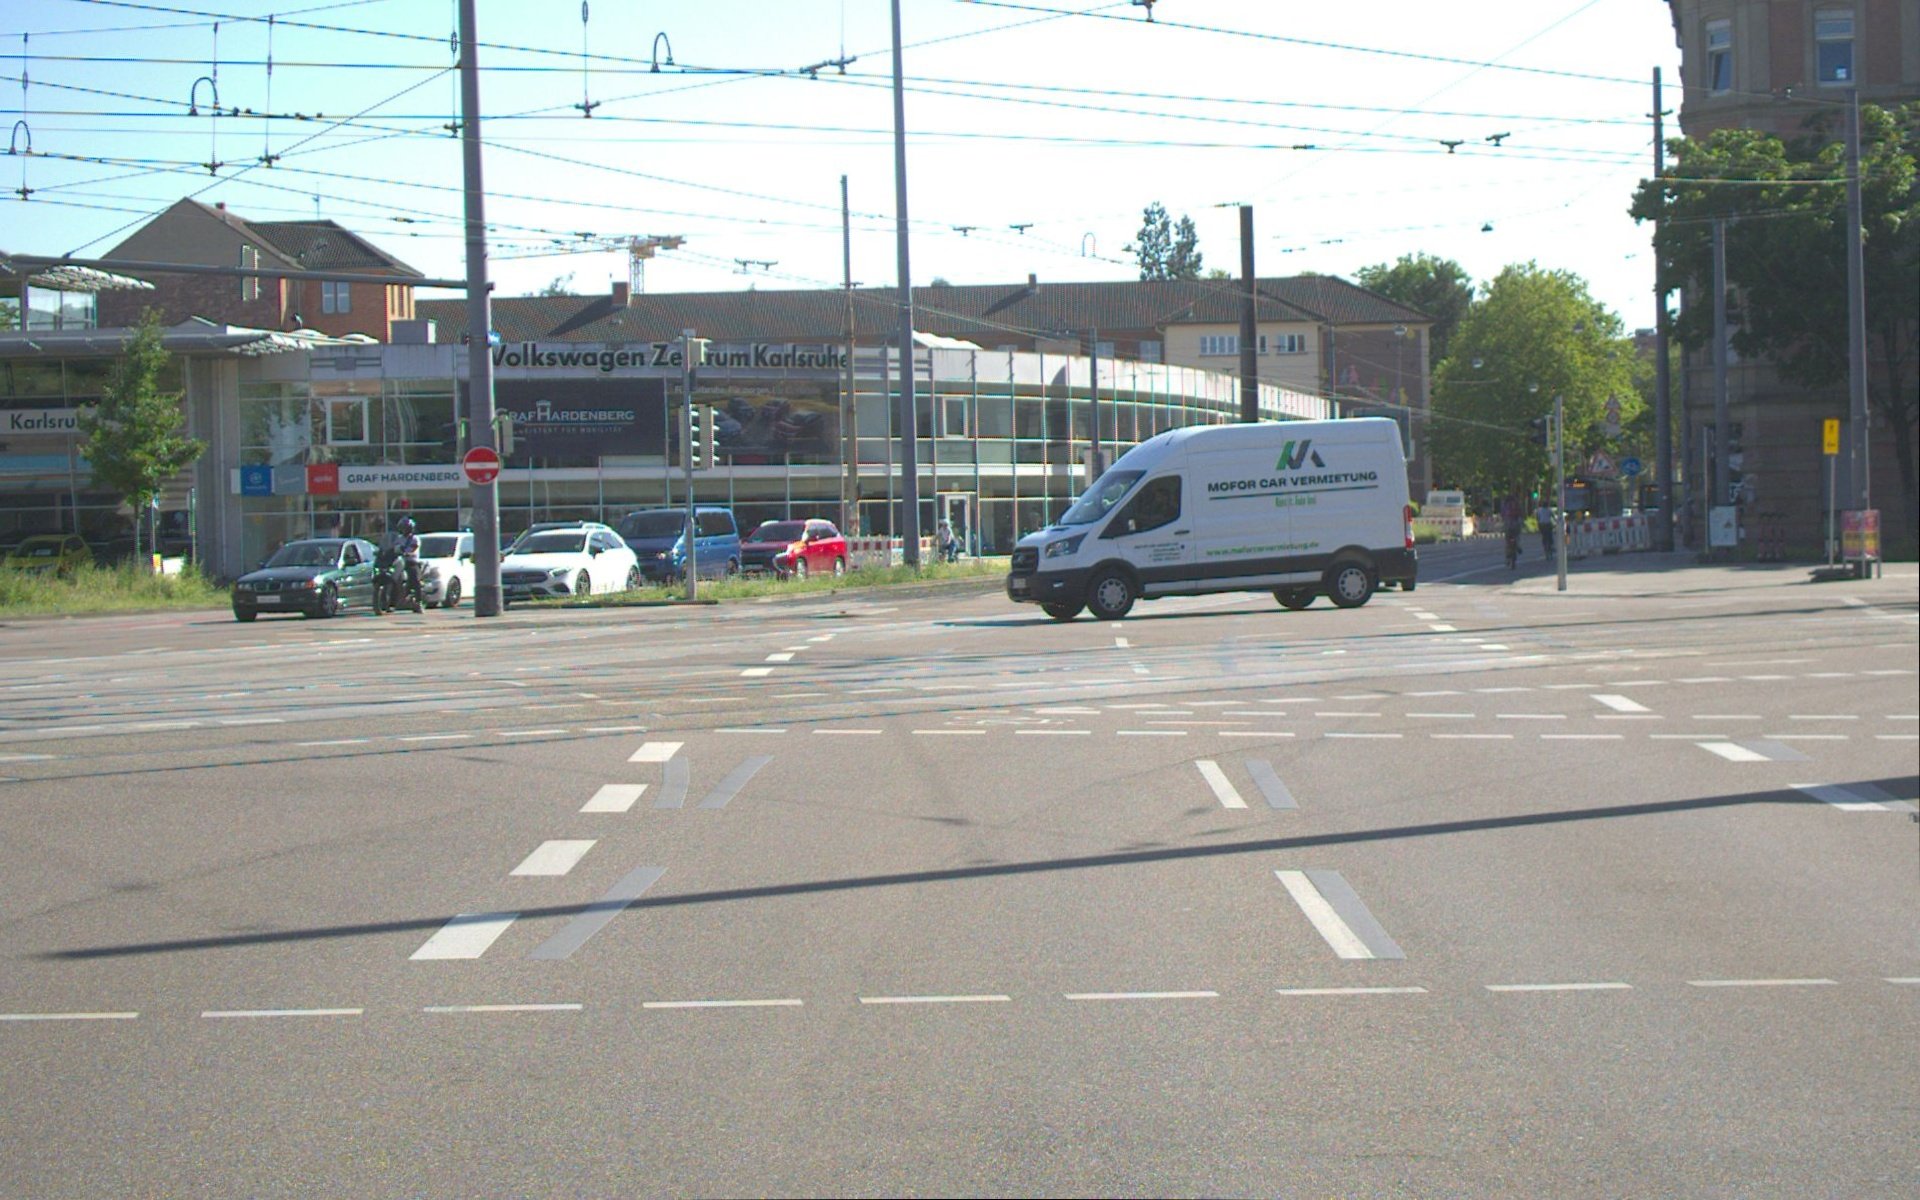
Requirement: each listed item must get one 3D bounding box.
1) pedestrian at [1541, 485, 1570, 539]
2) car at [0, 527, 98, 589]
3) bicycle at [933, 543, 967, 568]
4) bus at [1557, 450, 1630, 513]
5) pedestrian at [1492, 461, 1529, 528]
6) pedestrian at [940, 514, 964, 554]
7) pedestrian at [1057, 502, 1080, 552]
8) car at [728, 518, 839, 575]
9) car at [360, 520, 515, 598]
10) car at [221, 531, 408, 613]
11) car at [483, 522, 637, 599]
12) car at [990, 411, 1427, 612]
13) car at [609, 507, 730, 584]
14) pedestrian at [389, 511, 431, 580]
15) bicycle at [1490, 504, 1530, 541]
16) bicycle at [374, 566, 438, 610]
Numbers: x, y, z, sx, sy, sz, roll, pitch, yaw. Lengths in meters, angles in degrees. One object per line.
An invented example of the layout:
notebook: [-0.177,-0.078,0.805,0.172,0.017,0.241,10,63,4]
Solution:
pedestrian: [17.041,-2.515,98.366,0.746,1.517,0.717,-1,1,15]
car: [-26.533,-1.237,99.878,1.966,1.700,4.084,-1,1,-1]
bicycle: [-0.292,-1.334,102.349,0.423,0.715,1.473,0,1,26]
bus: [41.852,-7.718,226.525,3.839,3.595,24.853,1,1,12]
pedestrian: [13.463,-2.577,84.027,0.803,1.626,0.717,-1,1,15]
pedestrian: [-0.239,-1.968,102.469,0.423,1.200,0.679,-1,1,26]
pedestrian: [3.745,-2.524,118.665,0.543,1.683,0.629,-1,1,25]
car: [-4.398,-1.344,86.086,1.627,1.359,3.683,-1,1,16]
car: [-10.122,-0.818,66.829,1.627,1.419,3.683,-1,1,14]
car: [-11.391,-0.511,60.878,1.705,1.349,3.698,-1,1,17]
car: [-7.523,-0.768,64.947,1.627,1.377,3.735,-1,1,14]
car: [3.605,-1.300,49.808,5.903,2.735,2.145,-2,1,-19]
car: [-6.646,-1.273,78.959,1.627,1.686,3.683,-1,1,14]
pedestrian: [-9.687,-0.970,60.532,0.423,1.200,0.749,-1,1,17]
bicycle: [13.378,-1.882,83.600,0.743,0.867,1.930,-1,1,15]
bicycle: [-9.723,-0.218,60.375,0.423,0.715,1.633,-1,1,17]
